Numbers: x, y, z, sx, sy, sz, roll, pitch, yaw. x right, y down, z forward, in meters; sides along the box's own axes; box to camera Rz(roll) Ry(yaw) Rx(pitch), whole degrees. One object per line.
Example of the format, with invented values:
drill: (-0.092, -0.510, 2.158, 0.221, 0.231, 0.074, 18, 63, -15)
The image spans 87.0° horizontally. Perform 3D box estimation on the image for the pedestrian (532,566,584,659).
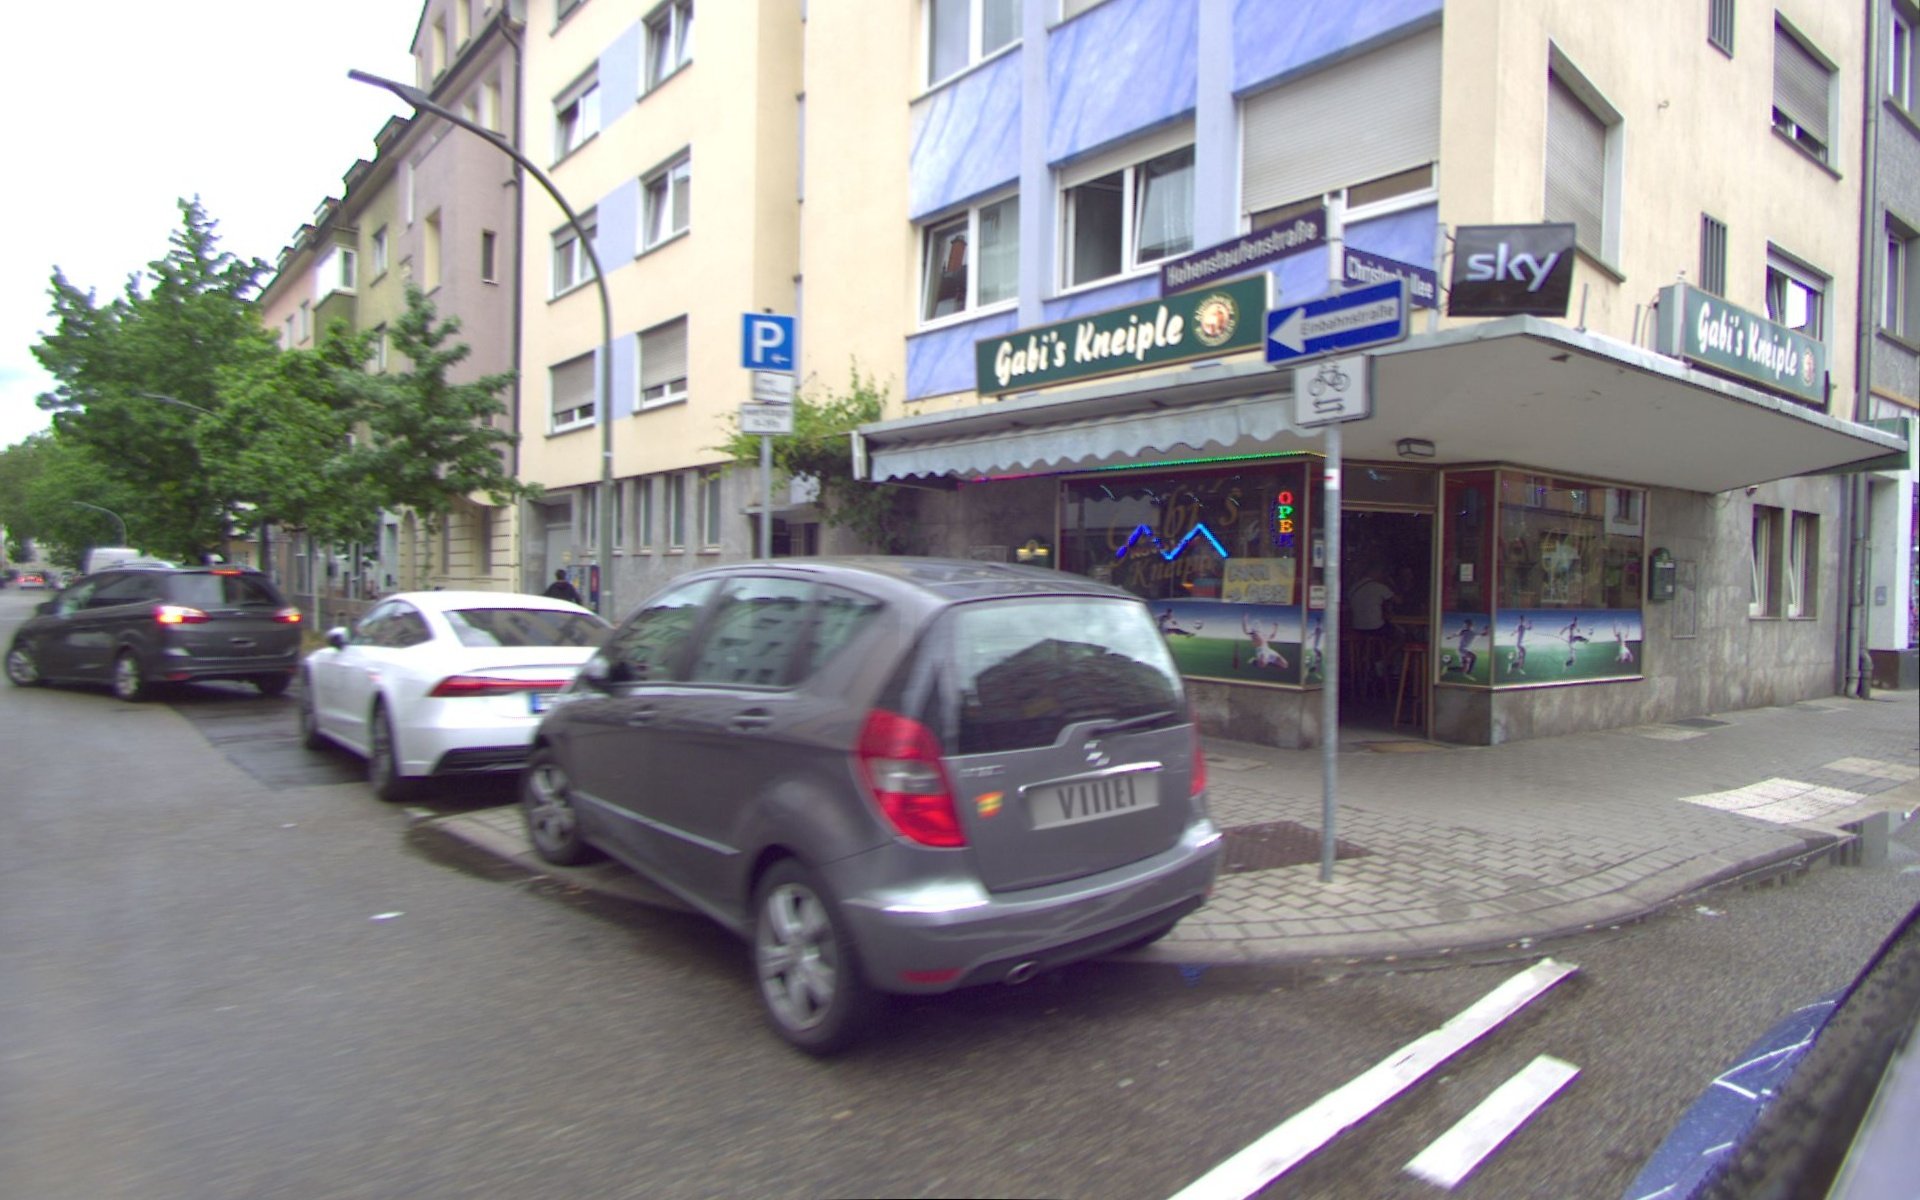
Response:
pedestrian: (-7.042, 0.202, 17.723, 0.634, 1.593, 0.703, 0, 2, -42)

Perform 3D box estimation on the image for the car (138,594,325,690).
car: (-12.412, 0.617, 17.169, 3.921, 1.320, 1.843, 2, 2, 43)

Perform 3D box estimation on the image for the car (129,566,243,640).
car: (-18.536, 0.005, 24.164, 1.840, 1.577, 4.073, -1, 2, -42)

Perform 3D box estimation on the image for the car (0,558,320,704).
car: (-10.459, 0.292, 13.165, 3.982, 1.638, 1.790, 1, 2, 26)

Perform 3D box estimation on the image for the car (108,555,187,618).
car: (-27.281, -0.488, 33.949, 1.840, 1.985, 4.073, -1, 2, -42)

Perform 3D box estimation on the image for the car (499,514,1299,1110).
car: (-0.640, 0.500, 4.792, 1.902, 1.593, 3.834, -1, 2, -39)

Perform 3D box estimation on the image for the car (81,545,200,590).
car: (-38.884, -1.533, 48.120, 1.979, 2.038, 3.966, 1, 2, 25)

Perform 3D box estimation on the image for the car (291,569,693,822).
car: (-4.017, 0.498, 8.214, 1.756, 1.460, 4.486, -1, 2, -42)
